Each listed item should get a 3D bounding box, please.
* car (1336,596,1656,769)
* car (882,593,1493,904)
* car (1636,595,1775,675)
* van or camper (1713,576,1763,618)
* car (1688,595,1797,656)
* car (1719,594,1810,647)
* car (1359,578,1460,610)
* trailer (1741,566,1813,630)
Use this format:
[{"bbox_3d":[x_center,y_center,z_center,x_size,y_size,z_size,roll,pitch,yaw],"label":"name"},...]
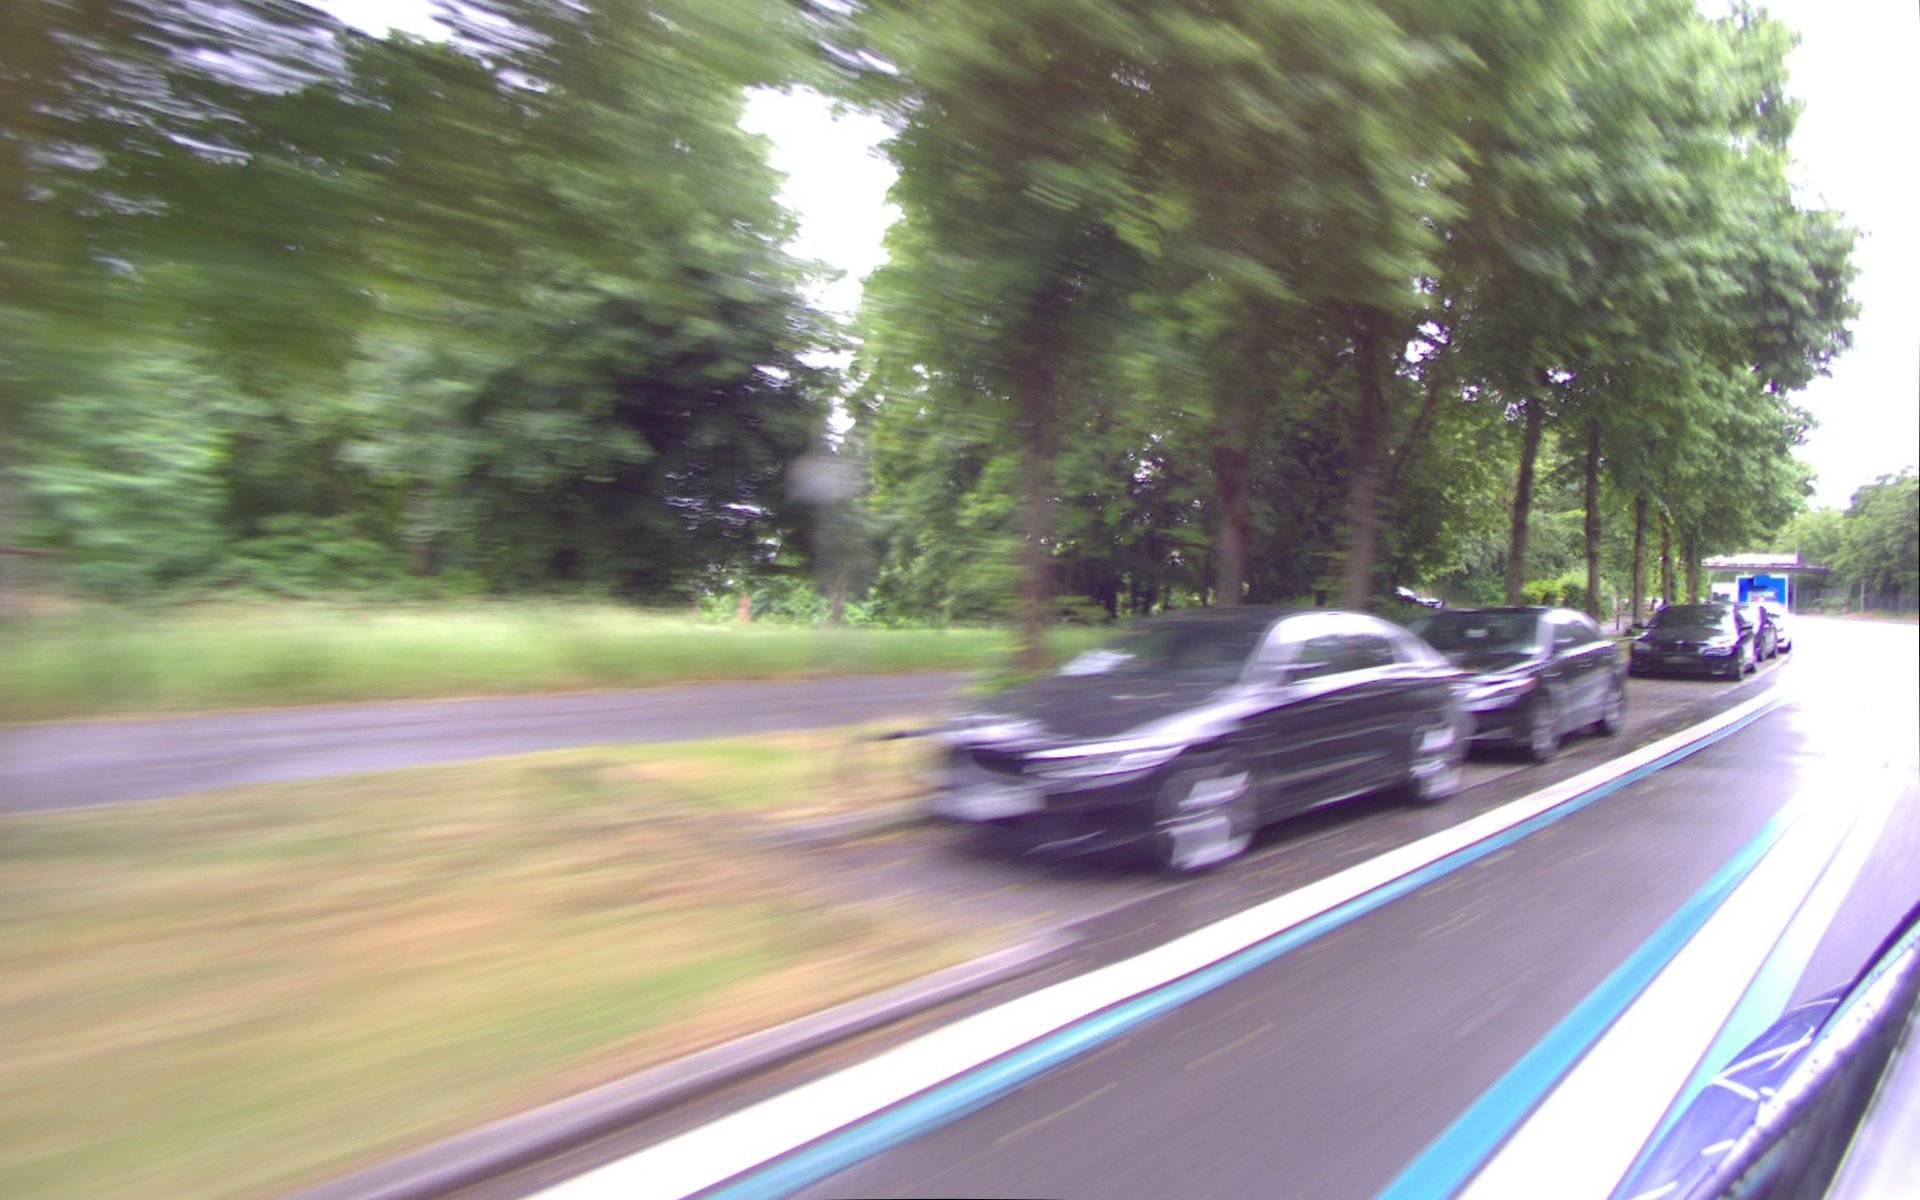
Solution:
[{"bbox_3d":[5.922,0.707,10.877,4.686,1.438,1.700,-1,-1,-45],"label":"car"},{"bbox_3d":[1.871,0.690,7.032,4.775,1.458,1.759,0,0,-43],"label":"car"},{"bbox_3d":[15.381,0.634,20.772,1.781,1.425,4.770,0,0,43],"label":"car"},{"bbox_3d":[52.799,-0.239,68.758,2.309,2.698,6.303,1,0,34],"label":"van or camper"},{"bbox_3d":[20.191,0.596,26.065,4.248,1.446,1.684,-1,0,-45],"label":"car"},{"bbox_3d":[24.233,0.562,30.438,1.858,1.446,4.579,0,0,42],"label":"car"},{"bbox_3d":[22.355,-0.328,50.444,1.857,1.338,4.146,0,3,-41],"label":"car"},{"bbox_3d":[36.399,-0.111,45.231,2.311,2.705,5.304,0,0,37],"label":"trailer"}]
